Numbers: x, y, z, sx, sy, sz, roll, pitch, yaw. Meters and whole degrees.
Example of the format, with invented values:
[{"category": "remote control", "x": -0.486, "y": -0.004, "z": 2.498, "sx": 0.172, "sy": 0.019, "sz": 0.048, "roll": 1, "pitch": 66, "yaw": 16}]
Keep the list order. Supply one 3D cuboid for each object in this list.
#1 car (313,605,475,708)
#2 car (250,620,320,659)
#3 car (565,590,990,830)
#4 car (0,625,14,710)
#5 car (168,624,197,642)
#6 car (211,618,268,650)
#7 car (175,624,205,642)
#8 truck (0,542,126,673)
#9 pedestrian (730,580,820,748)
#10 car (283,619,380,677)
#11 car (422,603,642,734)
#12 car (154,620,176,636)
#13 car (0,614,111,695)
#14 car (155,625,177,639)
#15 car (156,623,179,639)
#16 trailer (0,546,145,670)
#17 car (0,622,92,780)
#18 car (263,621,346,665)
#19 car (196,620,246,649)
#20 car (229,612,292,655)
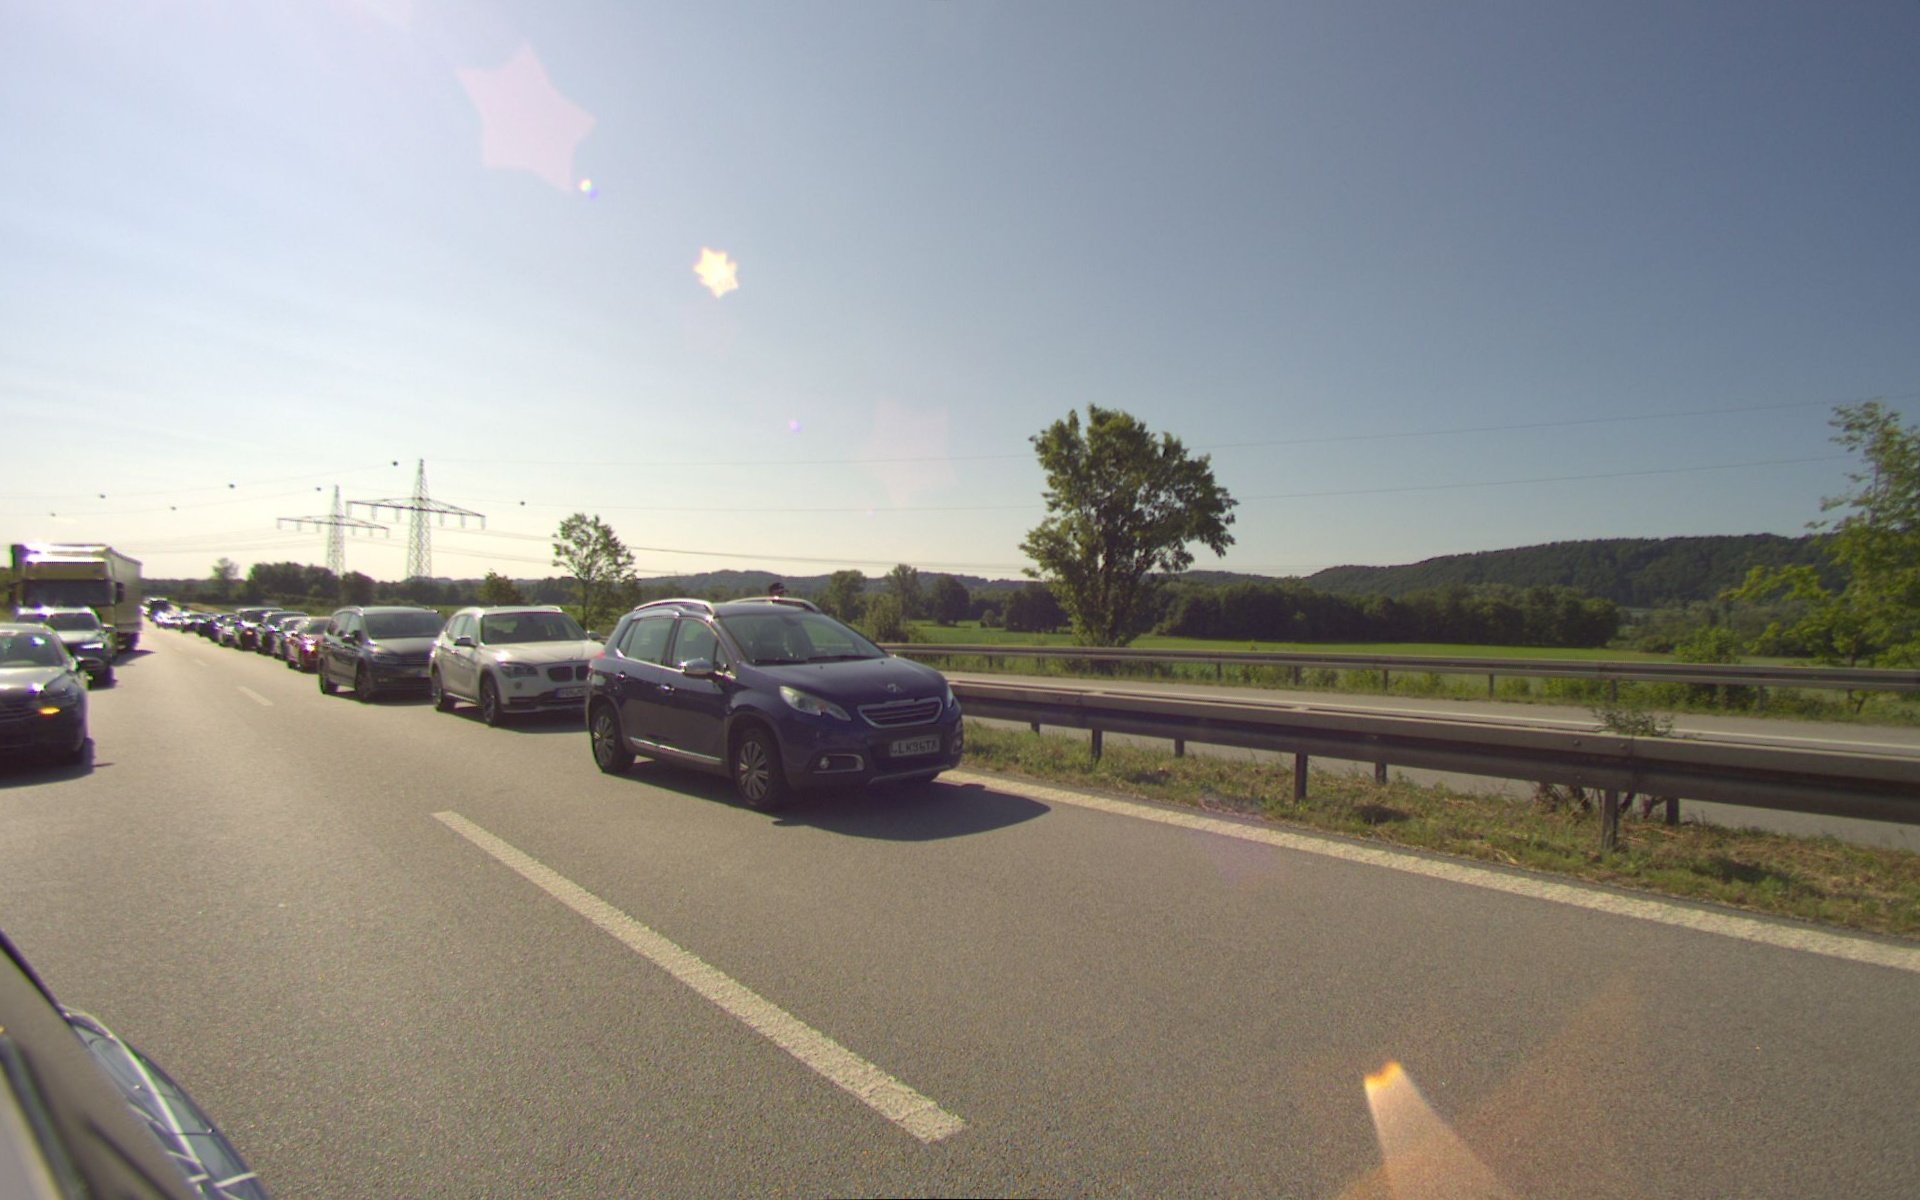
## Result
[{"category": "car", "x": -10.385, "y": 0.943, "z": 18.420, "sx": 1.793, "sy": 1.628, "sz": 4.124, "roll": -1, "pitch": 0, "yaw": -41}, {"category": "car", "x": -26.508, "y": 1.517, "z": 39.692, "sx": 1.865, "sy": 1.466, "sz": 4.007, "roll": 1, "pitch": -2, "yaw": -40}, {"category": "car", "x": -1.742, "y": 0.749, "z": 8.633, "sx": 1.668, "sy": 1.546, "sz": 3.952, "roll": -2, "pitch": 0, "yaw": -43}, {"category": "car", "x": -17.340, "y": 1.167, "z": 17.103, "sx": 1.691, "sy": 1.436, "sz": 4.333, "roll": -1, "pitch": 0, "yaw": -40}, {"category": "car", "x": -67.155, "y": 2.842, "z": 87.351, "sx": 1.792, "sy": 1.470, "sz": 4.124, "roll": -1, "pitch": 0, "yaw": -40}, {"category": "car", "x": -35.813, "y": 1.668, "z": 50.244, "sx": 1.969, "sy": 1.542, "sz": 4.006, "roll": 1, "pitch": -2, "yaw": -40}, {"category": "car", "x": -61.613, "y": 2.618, "z": 80.988, "sx": 1.792, "sy": 1.470, "sz": 4.125, "roll": 1, "pitch": -2, "yaw": -39}, {"category": "truck", "x": -31.636, "y": 0.252, "z": 35.637, "sx": 3.282, "sy": 4.144, "sz": 6.984, "roll": -1, "pitch": 0, "yaw": -38}, {"category": "pedestrian", "x": -2.048, "y": 0.688, "z": 11.177, "sx": 0.662, "sy": 1.763, "sz": 0.816, "roll": 1, "pitch": -2, "yaw": -40}, {"category": "car", "x": -17.421, "y": 1.270, "z": 27.973, "sx": 1.792, "sy": 1.470, "sz": 4.125, "roll": 1, "pitch": -2, "yaw": -39}, {"category": "car", "x": -6.240, "y": 0.875, "z": 14.499, "sx": 1.804, "sy": 1.586, "sz": 4.171, "roll": 0, "pitch": -1, "yaw": -39}, {"category": "car", "x": -89.927, "y": 3.117, "z": 114.481, "sx": 1.786, "sy": 1.807, "sz": 3.779, "roll": 1, "pitch": -2, "yaw": -40}, {"category": "car", "x": -20.414, "y": 1.163, "z": 22.985, "sx": 1.691, "sy": 1.636, "sz": 4.333, "roll": -1, "pitch": -1, "yaw": -40}, {"category": "car", "x": -84.095, "y": 3.410, "z": 107.147, "sx": 1.792, "sy": 1.470, "sz": 4.125, "roll": 1, "pitch": -2, "yaw": -39}, {"category": "car", "x": -80.476, "y": 3.125, "z": 102.809, "sx": 1.792, "sy": 1.470, "sz": 4.125, "roll": -1, "pitch": 0, "yaw": -39}, {"category": "trailer", "x": -35.250, "y": 0.306, "z": 40.581, "sx": 3.335, "sy": 4.144, "sz": 13.984, "roll": -1, "pitch": 0, "yaw": -36}, {"category": "car", "x": -10.328, "y": 0.966, "z": 10.674, "sx": 1.691, "sy": 1.424, "sz": 4.333, "roll": -1, "pitch": 0, "yaw": -40}, {"category": "car", "x": -22.675, "y": 1.437, "z": 34.944, "sx": 1.866, "sy": 1.409, "sz": 4.006, "roll": 1, "pitch": -2, "yaw": -41}, {"category": "car", "x": -41.880, "y": 1.922, "z": 57.299, "sx": 1.969, "sy": 1.542, "sz": 4.006, "roll": 1, "pitch": -2, "yaw": -40}, {"category": "car", "x": -31.041, "y": 1.475, "z": 44.875, "sx": 1.873, "sy": 1.801, "sz": 4.206, "roll": 1, "pitch": -2, "yaw": -41}]
